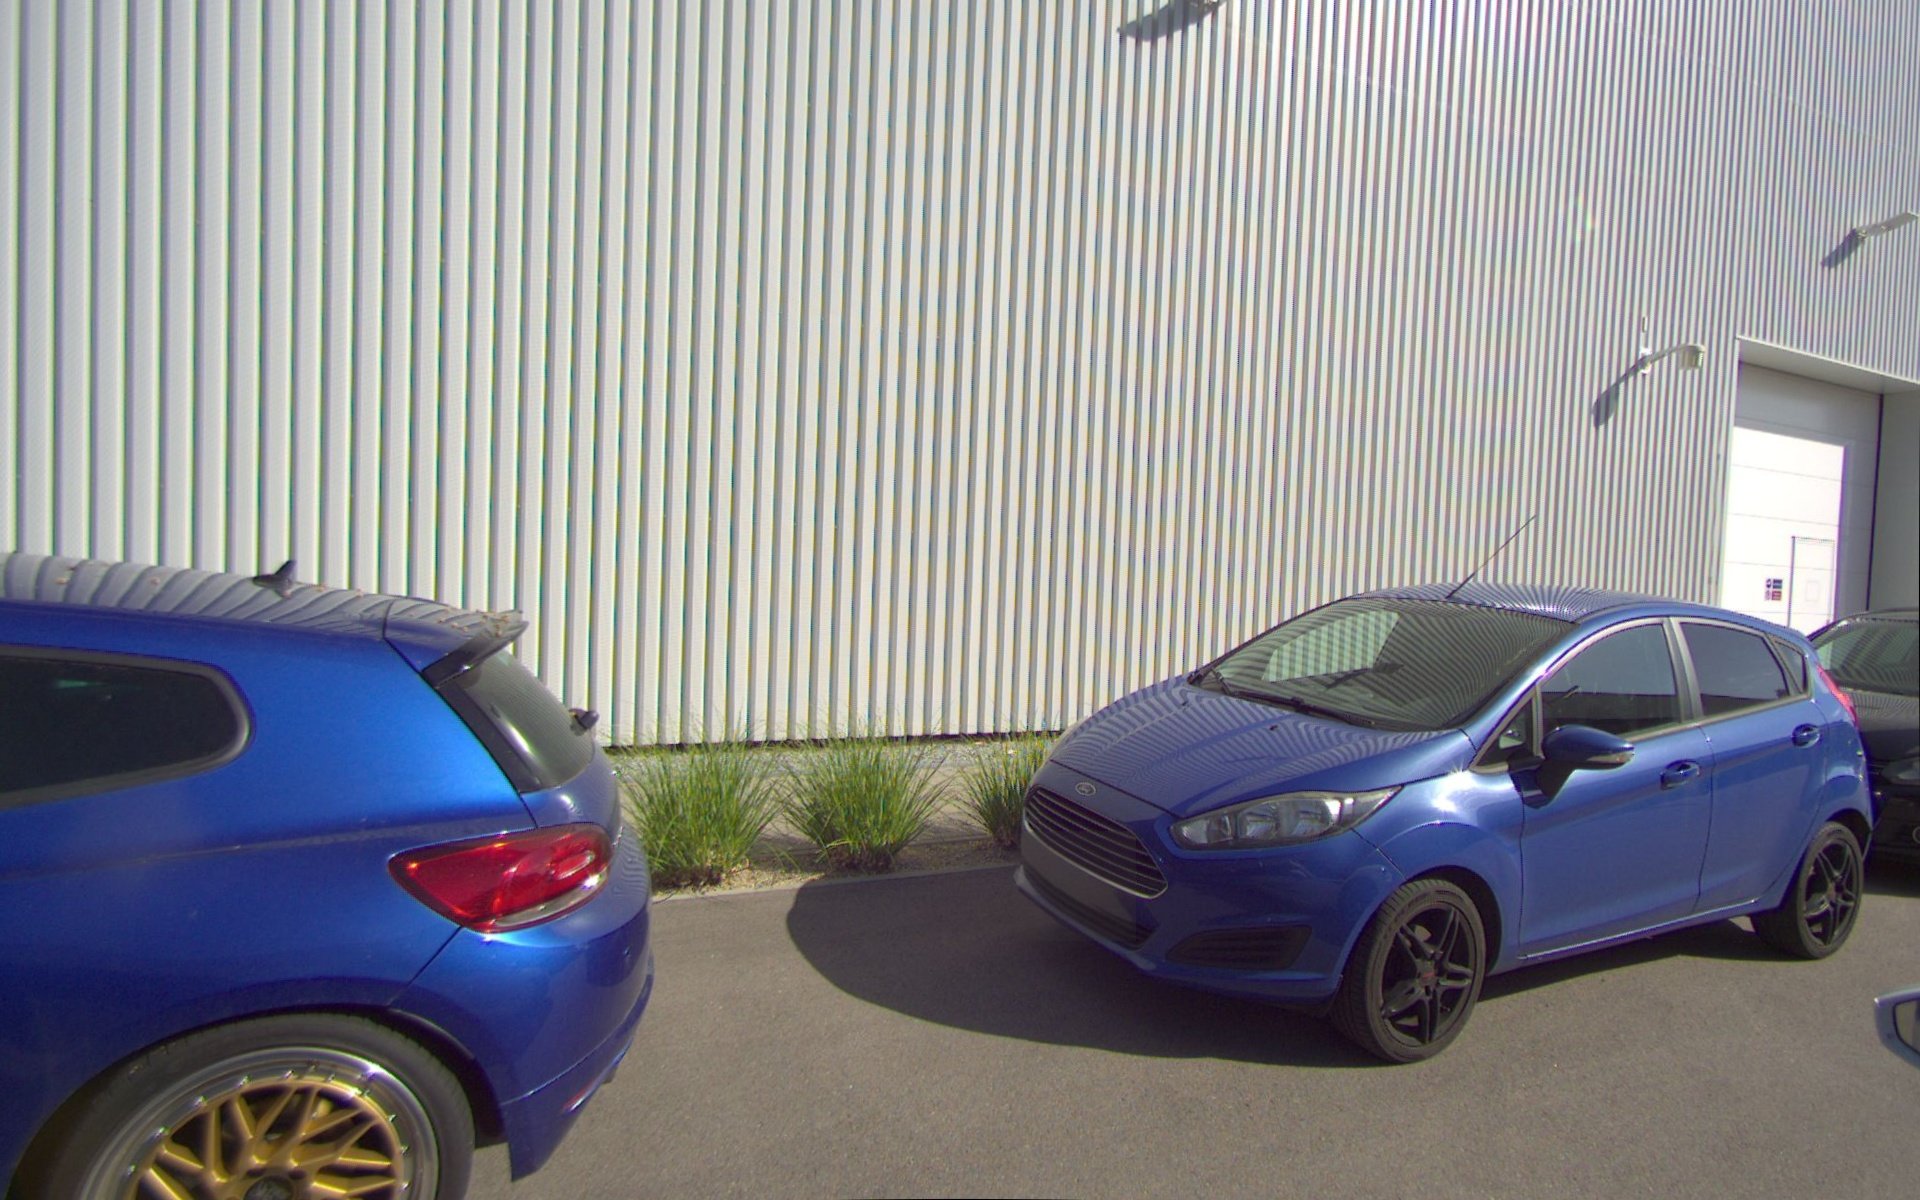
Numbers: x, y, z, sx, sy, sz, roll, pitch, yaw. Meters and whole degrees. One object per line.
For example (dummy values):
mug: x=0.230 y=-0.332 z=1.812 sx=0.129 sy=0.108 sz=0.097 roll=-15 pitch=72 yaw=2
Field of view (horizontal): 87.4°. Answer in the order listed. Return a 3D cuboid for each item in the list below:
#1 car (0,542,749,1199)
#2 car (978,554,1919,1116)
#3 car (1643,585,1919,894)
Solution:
car: x=-2.540 y=0.578 z=1.844 sx=3.902 sy=1.368 sz=1.662 roll=2 pitch=3 yaw=-26
car: x=2.113 y=0.651 z=4.226 sx=3.716 sy=1.467 sz=1.613 roll=2 pitch=3 yaw=-27
car: x=6.430 y=0.779 z=6.373 sx=3.826 sy=1.465 sz=1.645 roll=2 pitch=5 yaw=-25
